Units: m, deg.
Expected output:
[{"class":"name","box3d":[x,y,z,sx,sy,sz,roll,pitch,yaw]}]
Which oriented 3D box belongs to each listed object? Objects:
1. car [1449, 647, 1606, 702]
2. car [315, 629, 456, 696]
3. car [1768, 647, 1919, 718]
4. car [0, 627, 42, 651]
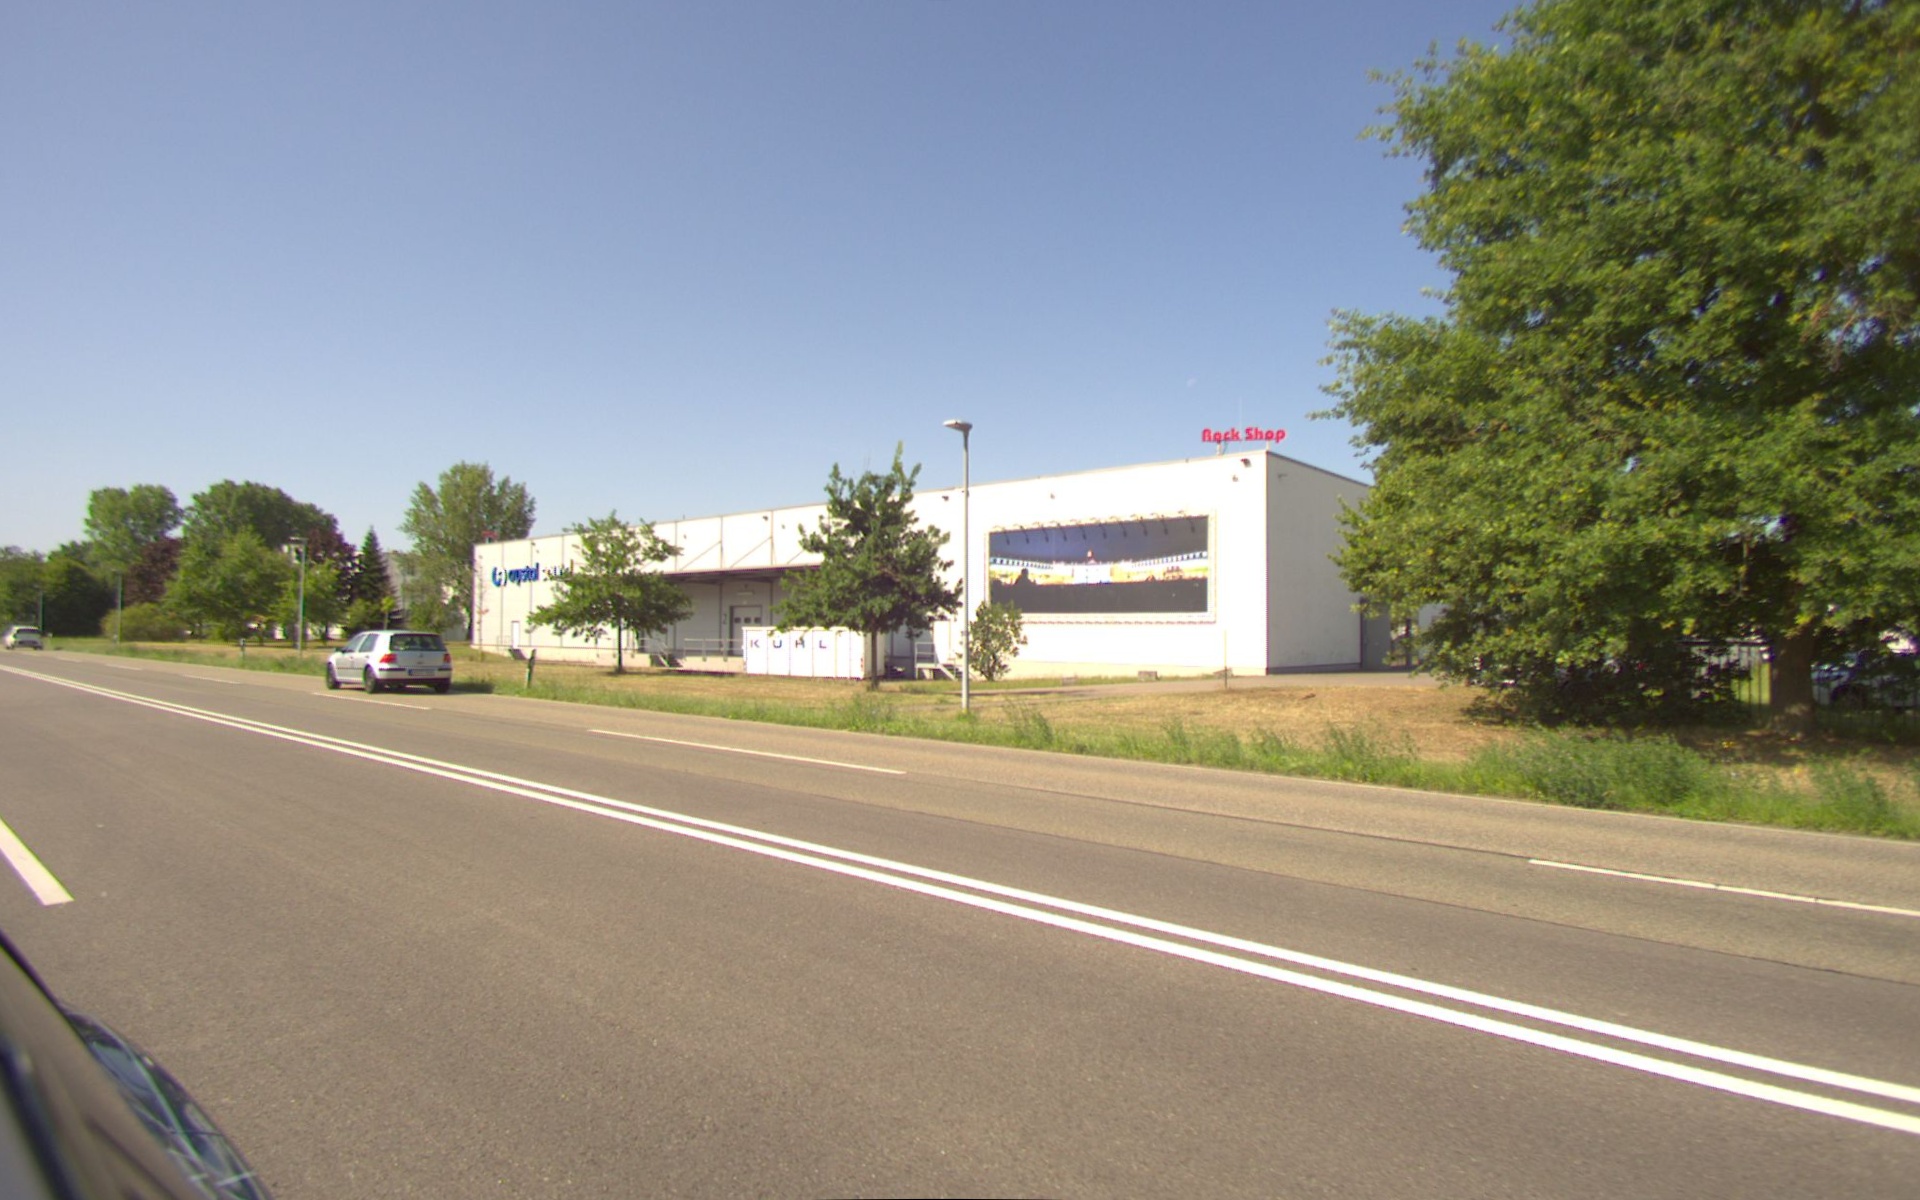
[{"class":"car","box3d":[16.367,2.106,29.281,3.720,1.400,1.619,-1,-3,41]},{"class":"car","box3d":[-13.555,1.439,23.790,3.998,1.453,1.581,-1,-4,41]},{"class":"car","box3d":[21.070,1.853,23.047,3.942,1.512,1.741,1,-2,-2]},{"class":"car","box3d":[-60.508,2.526,65.107,3.733,1.448,1.642,-1,-4,41]}]
